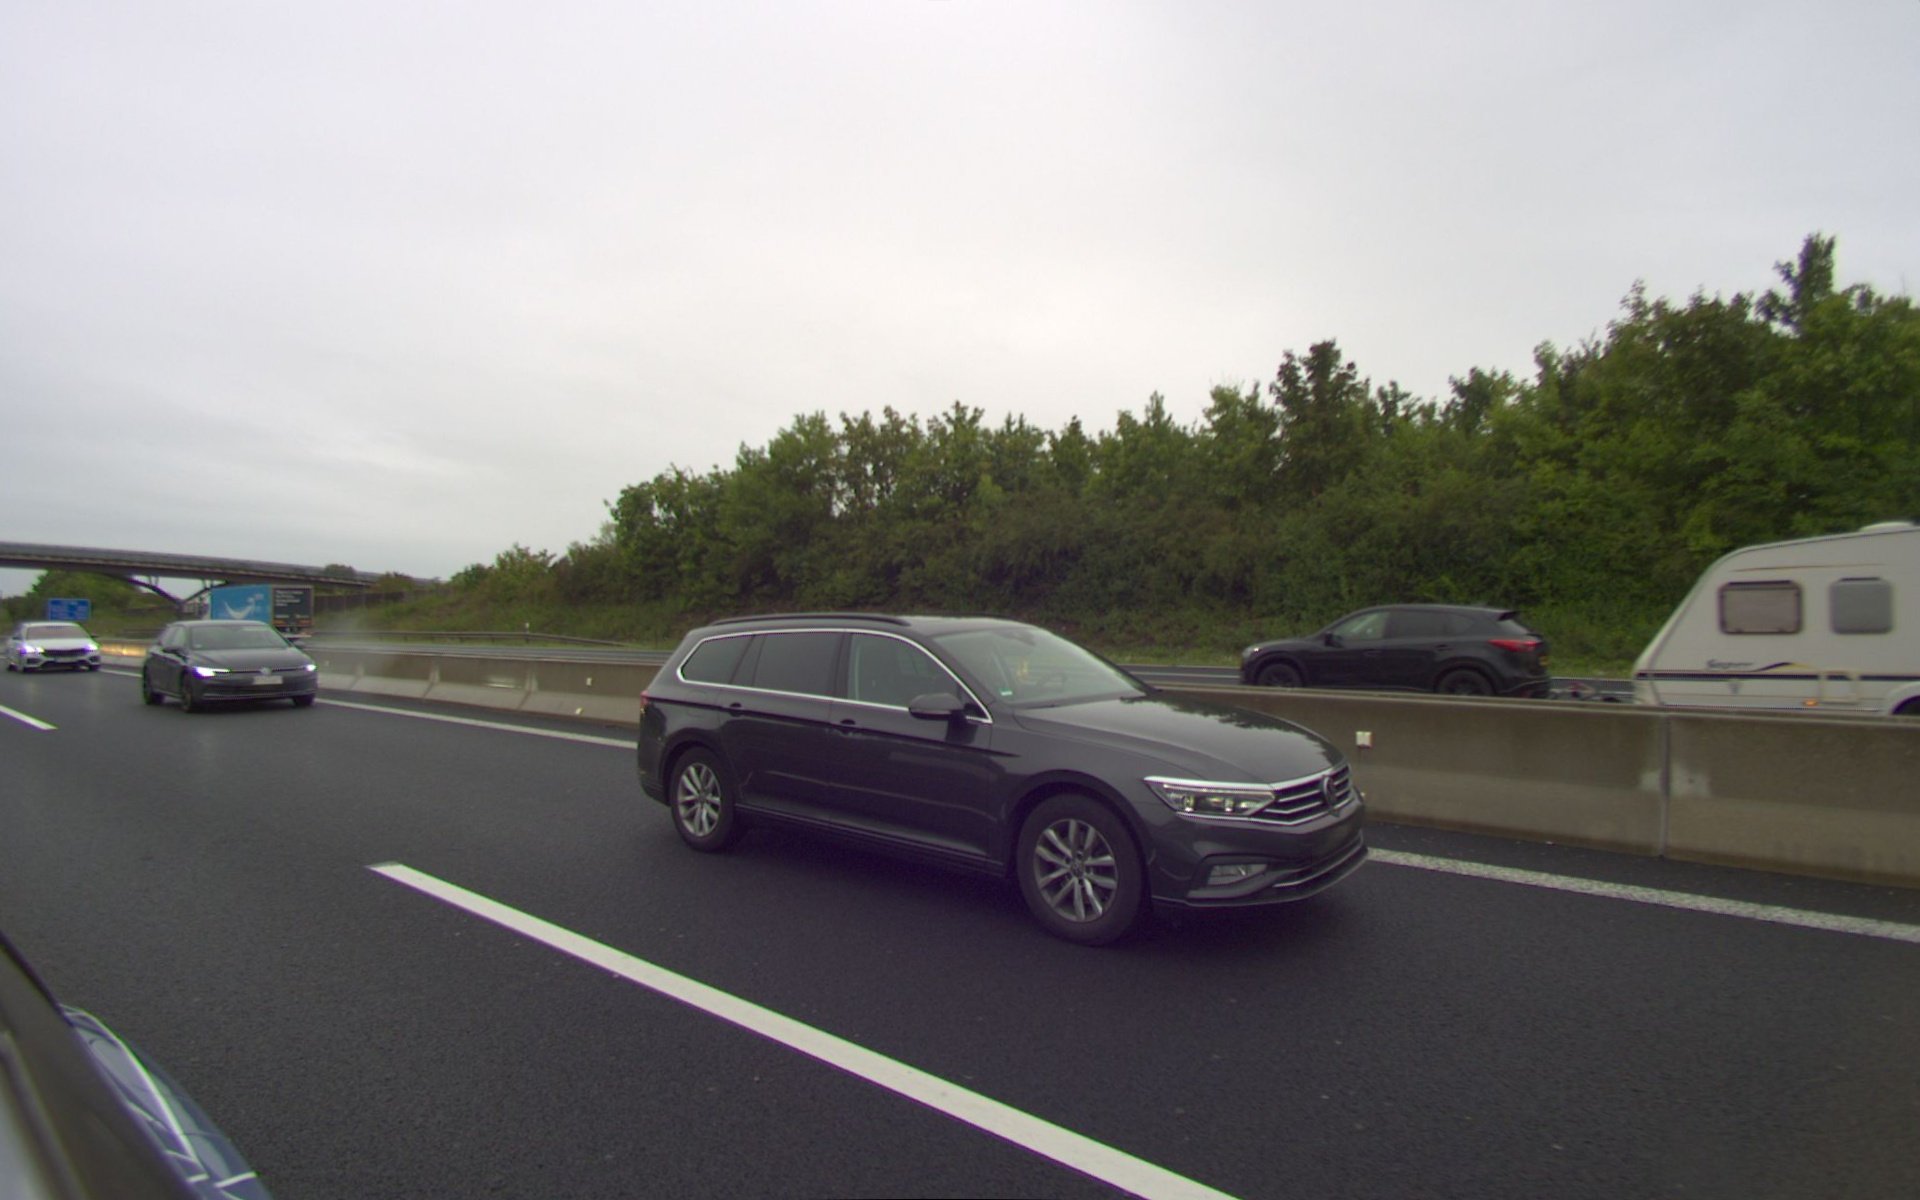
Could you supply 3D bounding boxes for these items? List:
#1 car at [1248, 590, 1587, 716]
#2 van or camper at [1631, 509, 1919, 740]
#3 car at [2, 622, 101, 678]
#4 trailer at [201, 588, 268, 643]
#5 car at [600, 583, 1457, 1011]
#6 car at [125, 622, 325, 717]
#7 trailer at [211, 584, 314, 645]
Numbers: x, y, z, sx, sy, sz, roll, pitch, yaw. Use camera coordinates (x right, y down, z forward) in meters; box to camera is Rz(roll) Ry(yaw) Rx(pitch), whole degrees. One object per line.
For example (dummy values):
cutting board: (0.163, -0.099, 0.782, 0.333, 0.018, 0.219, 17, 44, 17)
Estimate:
car: (6.715, 0.733, 15.175, 4.385, 1.632, 1.512, -1, -2, 41)
van or camper: (11.058, 0.267, 11.488, 5.544, 2.488, 1.776, -1, -2, 41)
car: (-26.953, 1.428, 29.983, 4.115, 1.518, 1.879, -1, -2, 44)
trailer: (-55.948, 1.222, 78.011, 6.038, 4.114, 2.761, -1, -2, 40)
car: (0.019, 0.745, 5.900, 4.849, 1.508, 1.881, -1, -1, 41)
car: (-12.665, 1.090, 17.338, 4.458, 1.416, 1.880, -1, -1, 42)
trailer: (-51.095, 1.107, 73.884, 13.516, 4.114, 2.761, -1, -2, 40)
